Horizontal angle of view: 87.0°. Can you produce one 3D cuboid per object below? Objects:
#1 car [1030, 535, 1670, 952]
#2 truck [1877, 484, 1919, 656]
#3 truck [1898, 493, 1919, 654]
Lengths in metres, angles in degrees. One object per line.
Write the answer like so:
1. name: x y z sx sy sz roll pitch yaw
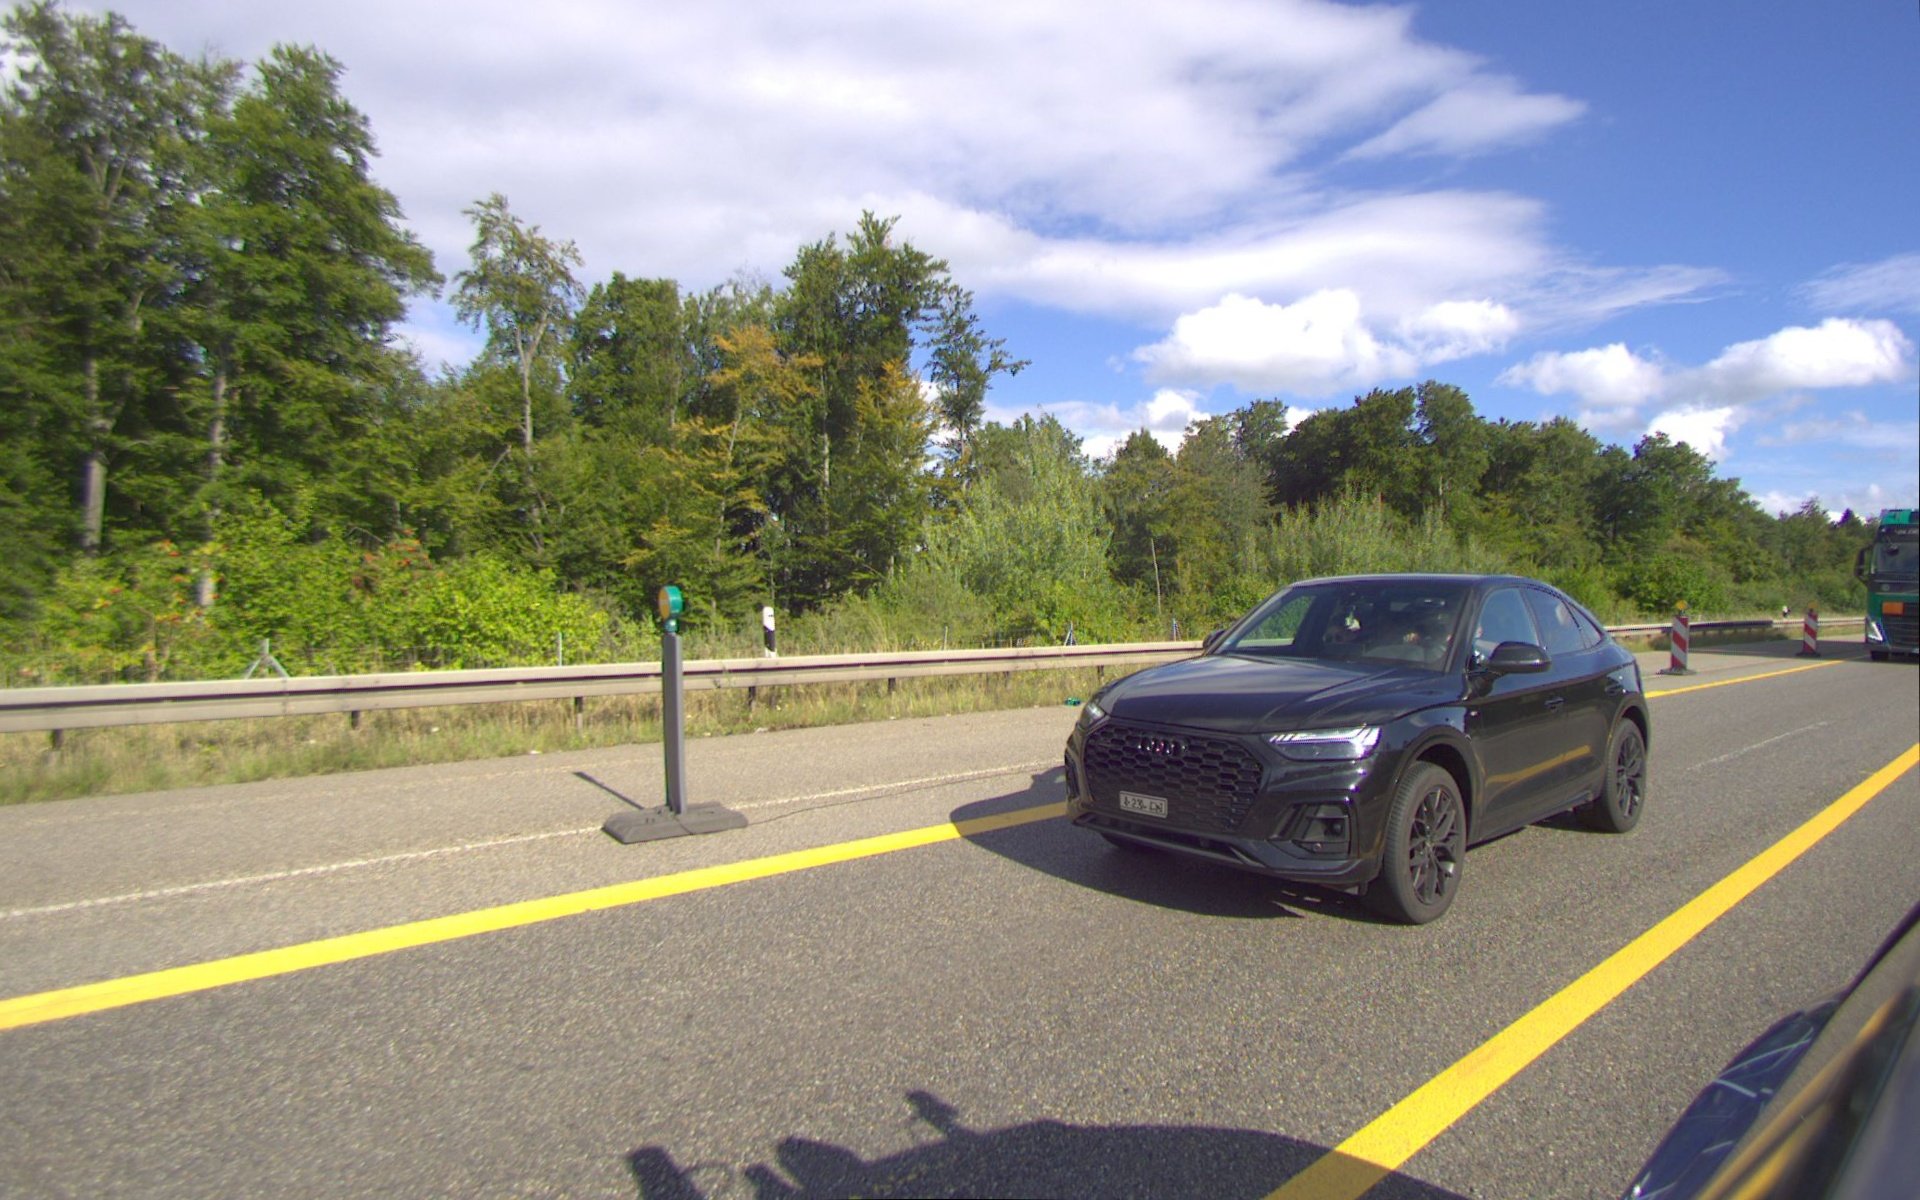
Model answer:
1. car: 2.536 0.537 6.006 4.219 1.623 1.781 -1 0 -41
2. truck: 26.040 -0.754 26.180 6.735 4.151 2.526 0 0 -40
3. truck: 30.879 -0.655 30.209 13.956 4.196 2.469 0 -1 -40
